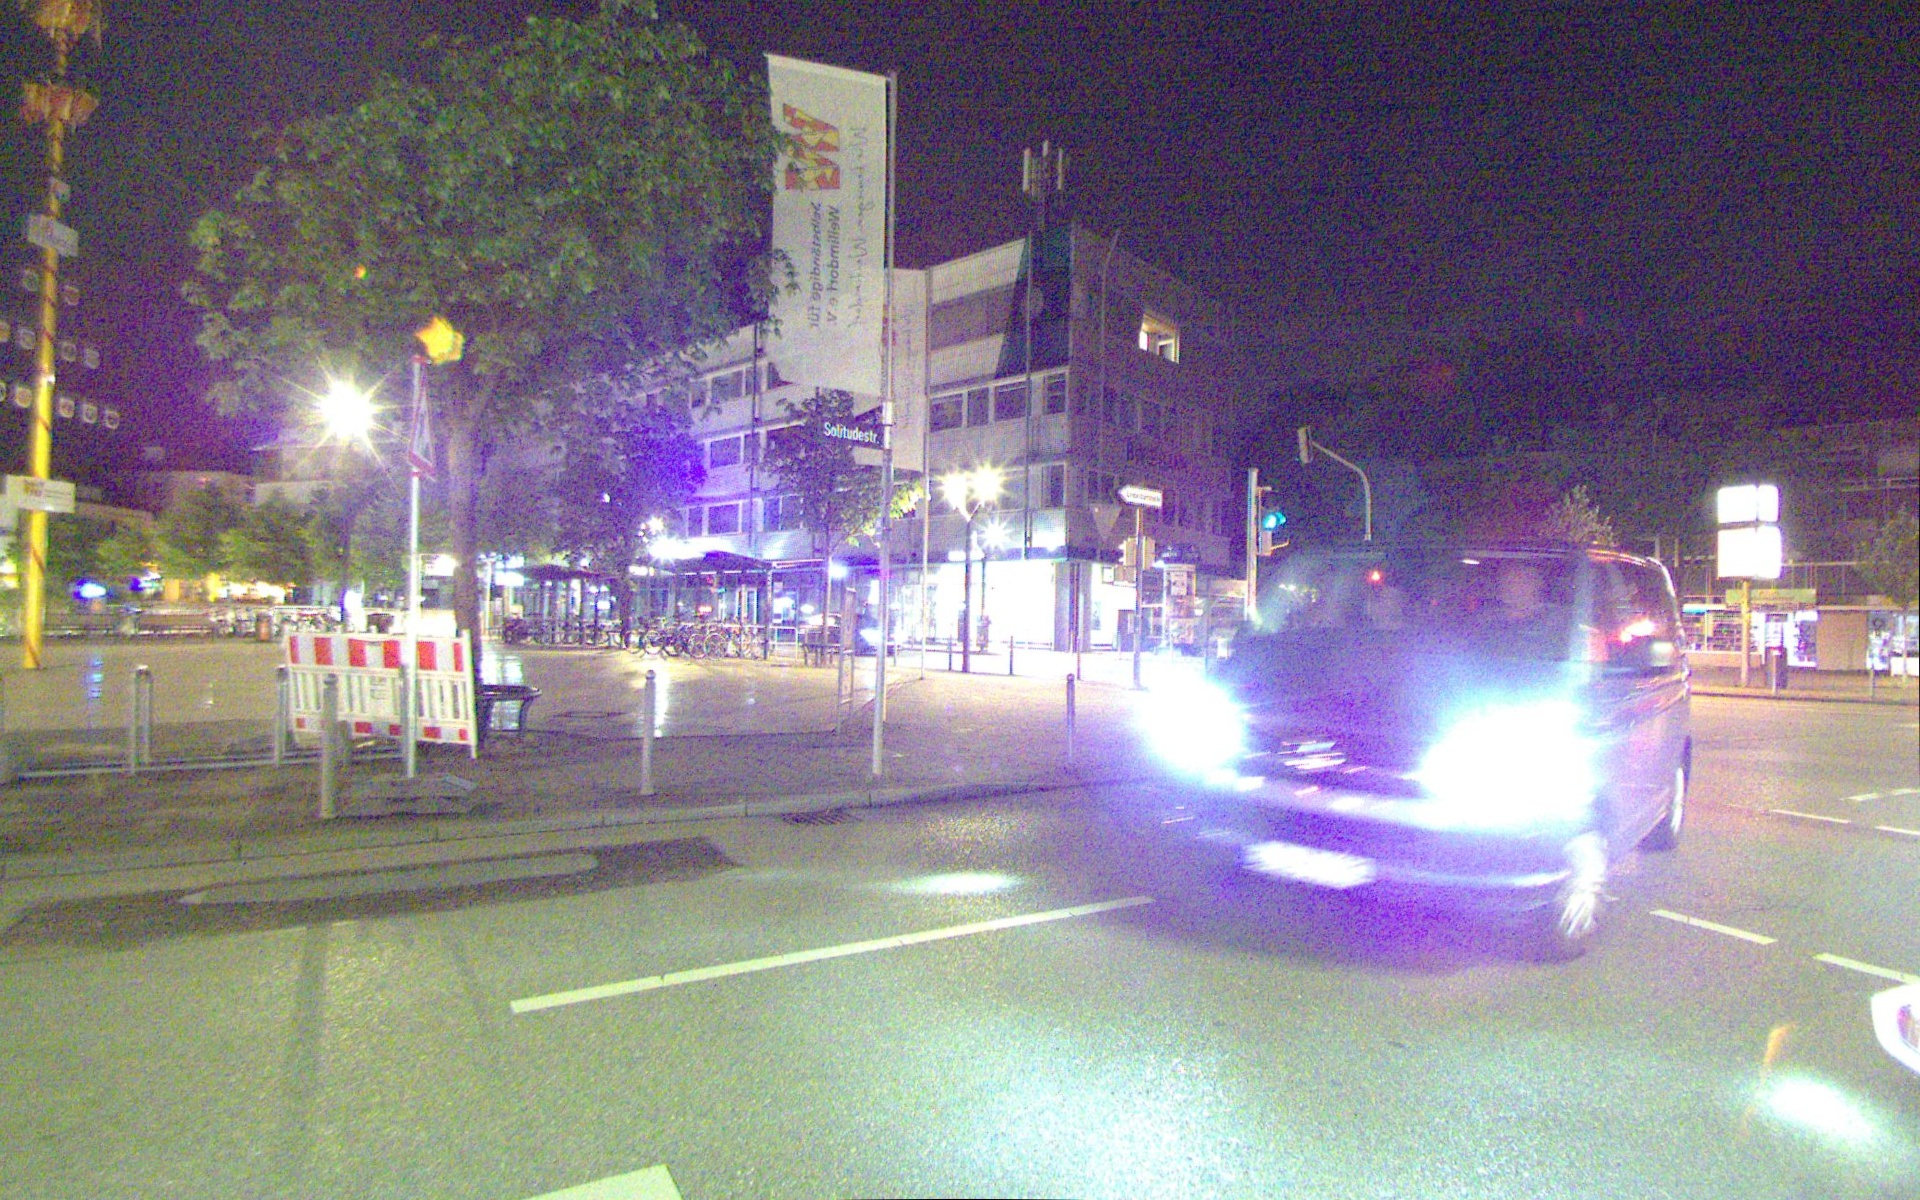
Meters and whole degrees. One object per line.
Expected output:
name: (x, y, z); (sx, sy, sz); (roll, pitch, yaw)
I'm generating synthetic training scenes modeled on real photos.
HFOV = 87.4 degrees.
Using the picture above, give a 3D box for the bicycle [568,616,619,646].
bicycle: (-12.040, 1.019, 33.008); (0.473, 0.970, 1.525); (2, 0, 44)

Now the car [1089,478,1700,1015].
car: (2.975, 0.592, 6.041); (1.945, 1.896, 4.886); (0, -2, 42)

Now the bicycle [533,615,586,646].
bicycle: (-13.171, 0.996, 33.053); (0.473, 0.970, 1.525); (2, 0, 44)

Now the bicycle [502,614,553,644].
bicycle: (-14.775, 0.994, 34.350); (0.473, 0.970, 1.525); (2, 0, 44)

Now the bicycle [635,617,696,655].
bicycle: (-7.855, 0.956, 26.819); (0.473, 0.970, 1.525); (2, 0, 44)

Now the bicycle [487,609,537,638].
bicycle: (-15.553, 0.806, 34.879); (0.473, 0.970, 1.525); (2, 0, 44)

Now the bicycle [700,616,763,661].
bicycle: (-5.654, 0.945, 24.921); (0.440, 1.068, 1.525); (2, 0, 43)

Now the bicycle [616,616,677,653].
bicycle: (-8.555, 0.938, 27.439); (0.473, 0.970, 1.525); (2, 0, 44)

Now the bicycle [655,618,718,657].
bicycle: (-7.105, 0.971, 26.132); (0.473, 0.970, 1.525); (2, 0, 44)

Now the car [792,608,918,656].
car: (-3.699, 1.081, 34.974); (4.249, 1.473, 1.872); (2, 0, 39)

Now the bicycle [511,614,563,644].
bicycle: (-14.188, 0.984, 33.734); (0.473, 0.970, 1.525); (2, 0, 44)

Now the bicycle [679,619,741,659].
bicycle: (-6.346, 0.981, 25.521); (0.440, 0.970, 1.525); (2, 0, 43)
